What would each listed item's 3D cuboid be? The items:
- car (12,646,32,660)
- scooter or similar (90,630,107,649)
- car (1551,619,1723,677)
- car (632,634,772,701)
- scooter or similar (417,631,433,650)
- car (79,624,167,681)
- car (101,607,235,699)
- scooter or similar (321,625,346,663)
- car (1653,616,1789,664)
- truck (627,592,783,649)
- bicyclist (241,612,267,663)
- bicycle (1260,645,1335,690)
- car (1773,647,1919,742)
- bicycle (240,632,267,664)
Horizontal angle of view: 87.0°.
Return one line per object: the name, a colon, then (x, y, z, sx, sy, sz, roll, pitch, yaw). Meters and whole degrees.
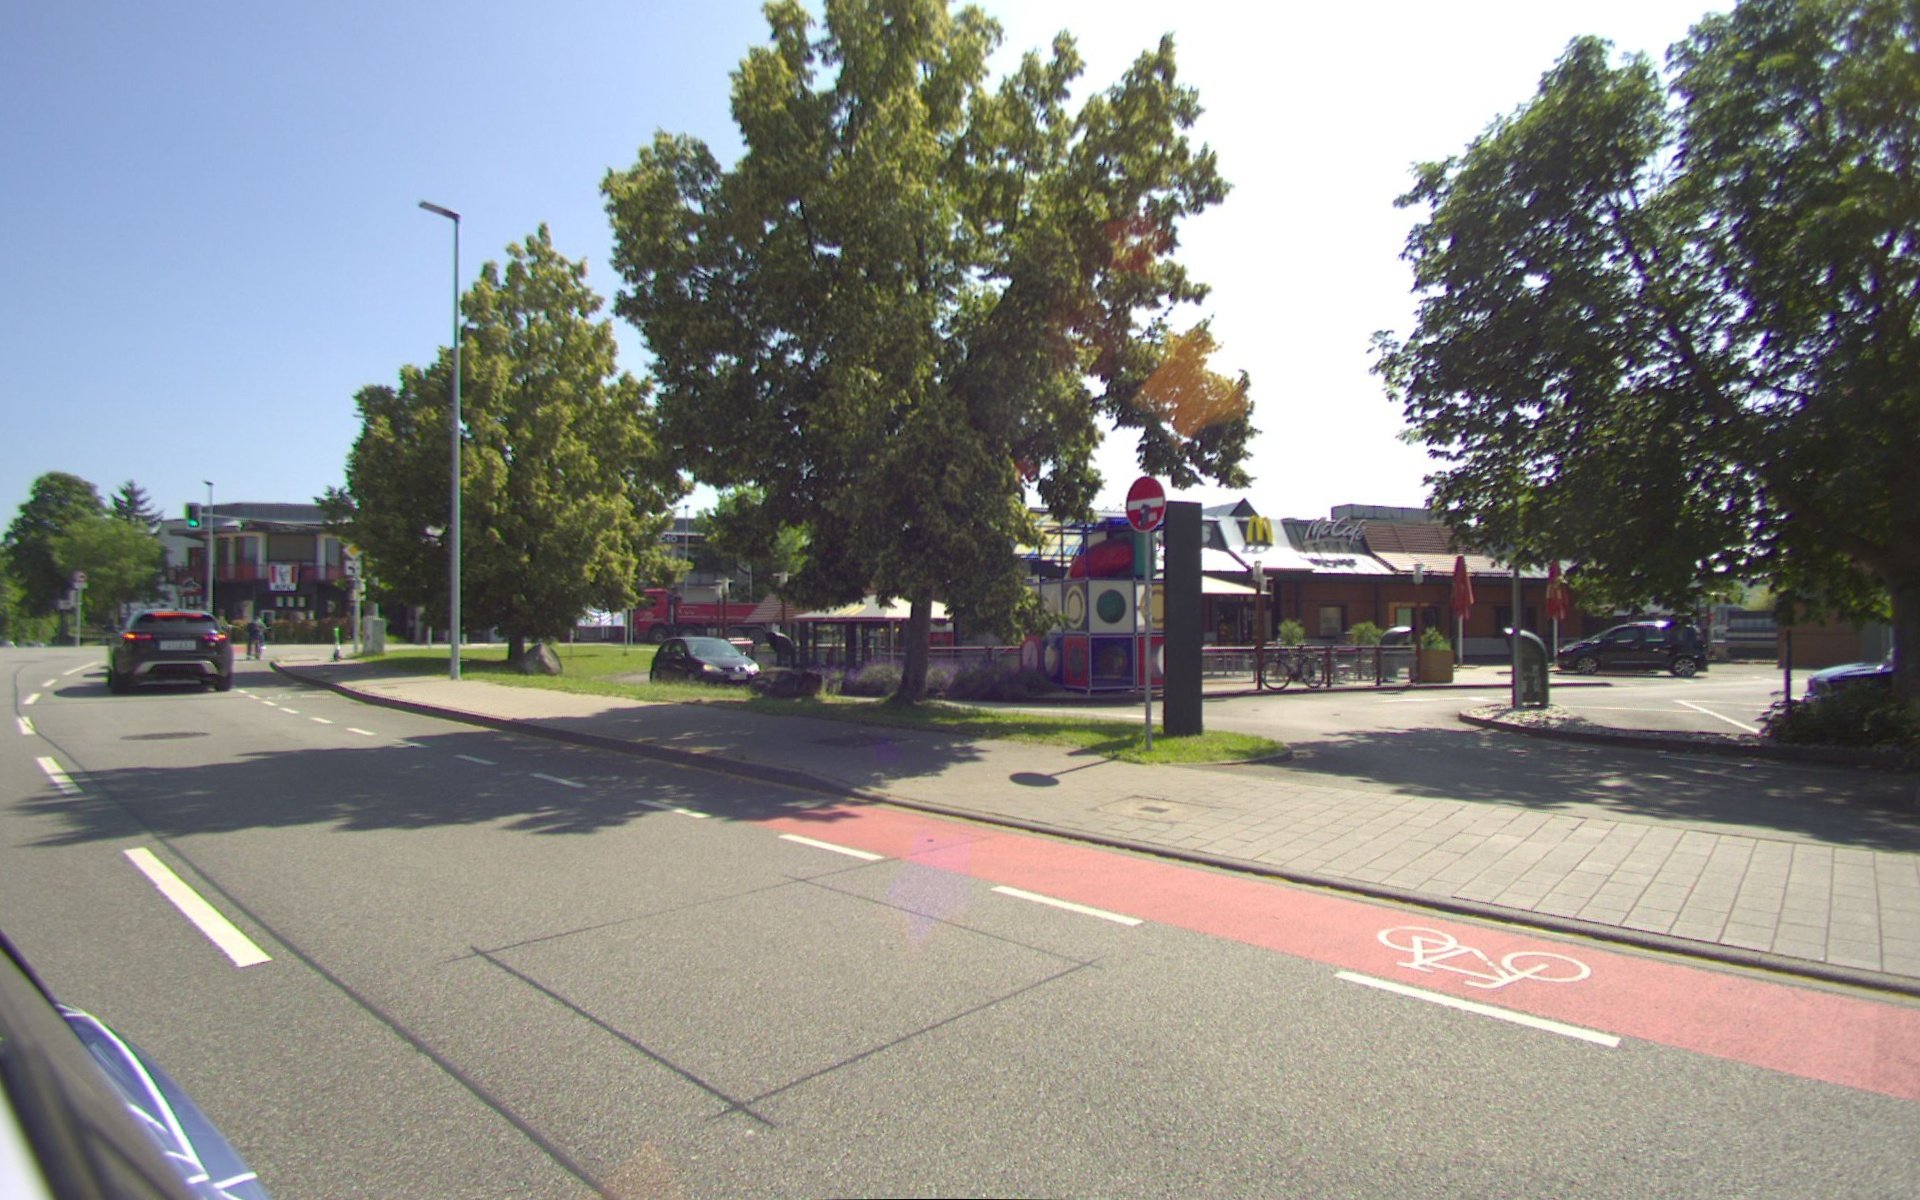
car: (-107.331, 6.042, 115.809, 1.648, 1.544, 4.005, 2, -3, -42)
scooter or similar: (-52.141, 2.377, 61.230, 0.420, 1.132, 1.456, 1, -2, -27)
car: (21.249, 1.473, 31.994, 4.328, 1.697, 1.758, 0, -2, 28)
car: (-6.690, 1.670, 25.981, 1.836, 1.564, 4.195, 2, -3, -40)
scooter or similar: (-33.394, 2.535, 63.211, 0.492, 1.132, 1.508, 1, -2, -13)
car: (-22.015, 1.344, 26.694, 1.635, 1.391, 4.007, 2, -2, -39)
car: (-16.525, 1.053, 21.027, 1.926, 1.708, 4.619, 2, -3, -41)
scooter or similar: (-19.889, 1.396, 32.120, 0.465, 1.193, 1.368, 2, -3, -39)
car: (36.560, 1.909, 48.775, 1.965, 2.194, 4.819, 1, -2, -26)
truck: (-15.807, 1.300, 62.828, 9.009, 3.412, 3.325, 0, -2, -21)
bicyclist: (-25.733, 1.362, 36.898, 0.700, 1.802, 0.811, 1, -2, -32)
bicycle: (7.801, 1.547, 23.363, 1.826, 1.000, 0.309, 1, -2, -19)
car: (14.588, 1.353, 14.702, 3.961, 1.295, 1.601, 0, -2, 14)
bicycle: (-25.767, 1.732, 36.930, 0.687, 1.113, 1.760, 3, -3, -32)
